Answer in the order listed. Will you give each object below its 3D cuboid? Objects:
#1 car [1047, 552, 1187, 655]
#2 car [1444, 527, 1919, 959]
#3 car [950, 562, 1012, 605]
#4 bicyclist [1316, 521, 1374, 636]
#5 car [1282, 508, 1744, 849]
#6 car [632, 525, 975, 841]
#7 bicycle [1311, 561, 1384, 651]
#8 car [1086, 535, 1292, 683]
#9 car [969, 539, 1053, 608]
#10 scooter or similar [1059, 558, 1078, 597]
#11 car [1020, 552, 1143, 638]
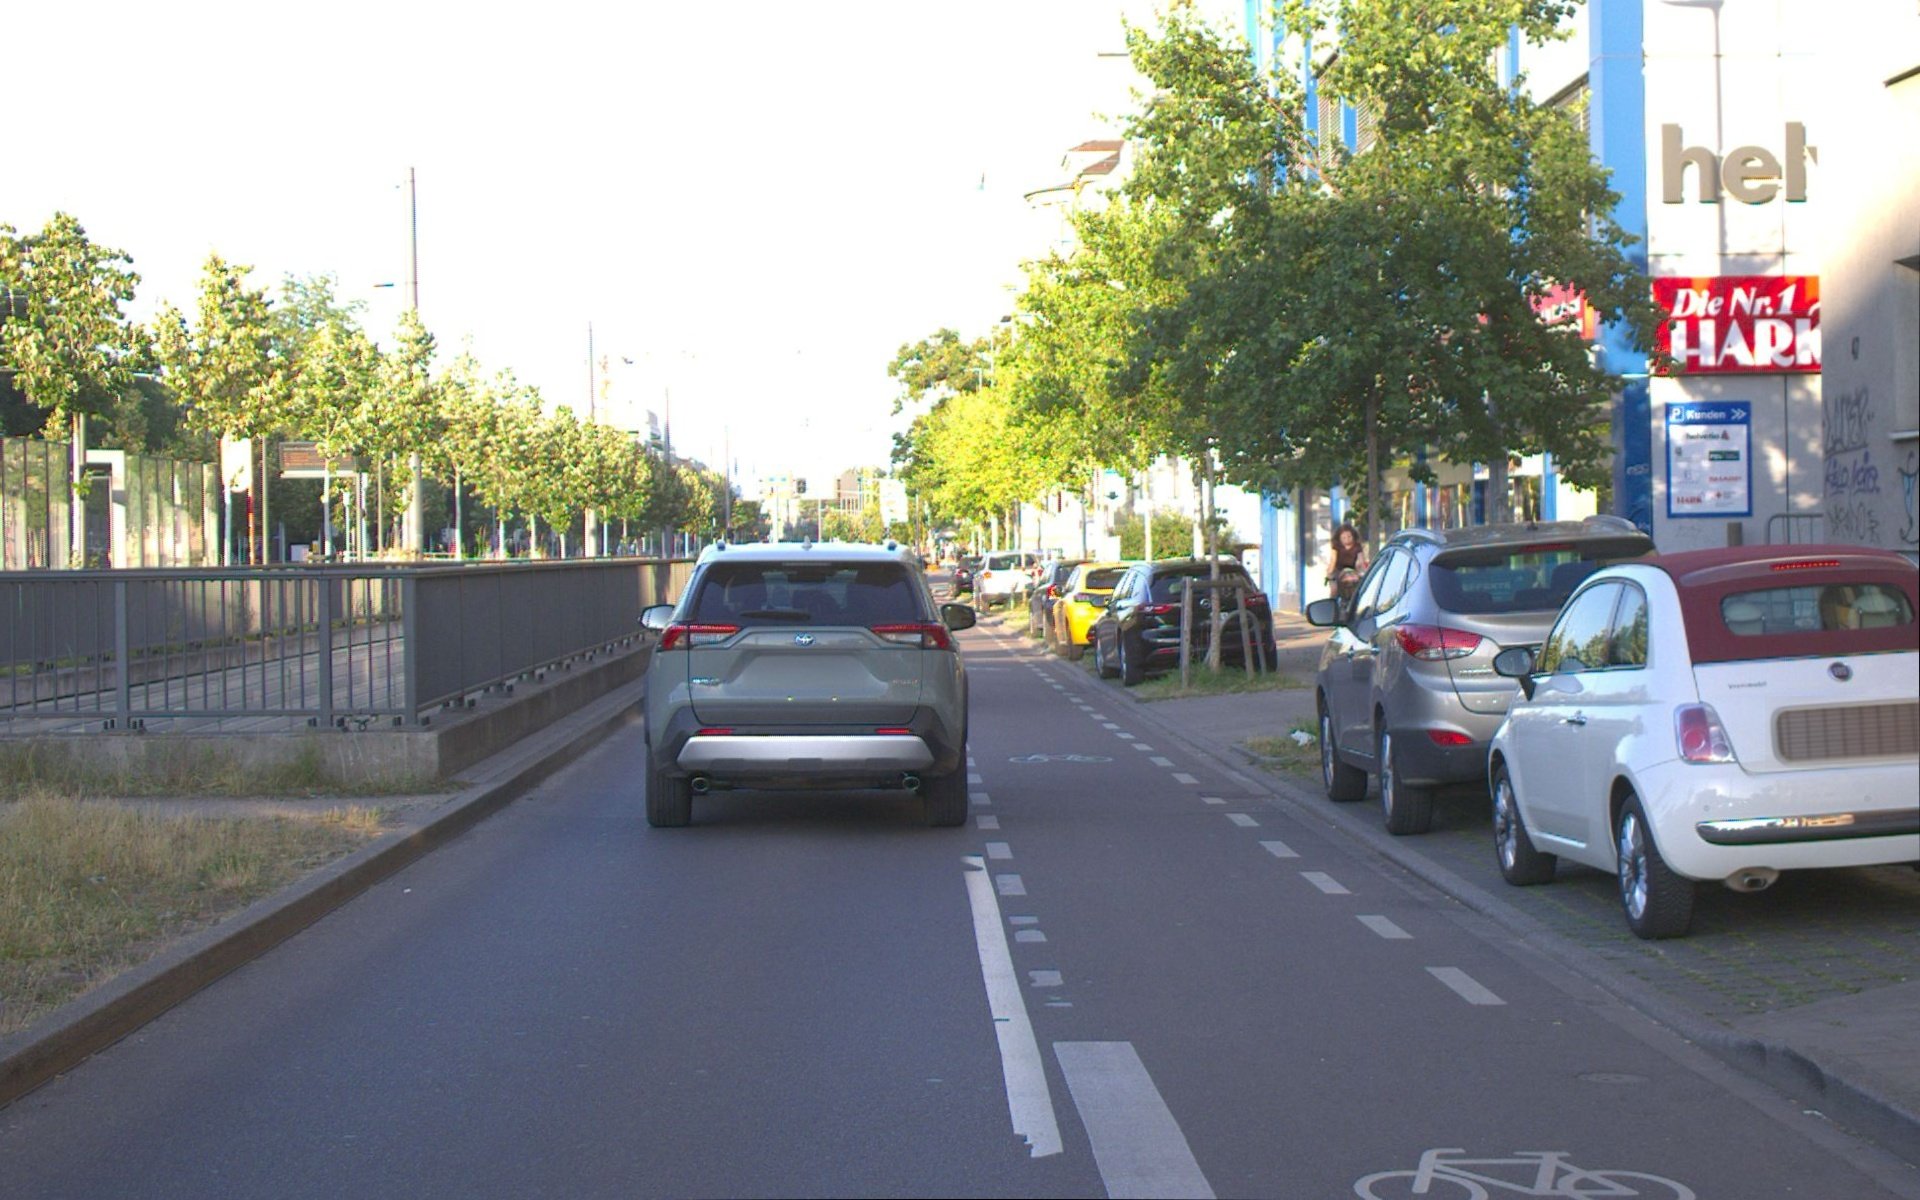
[{"bbox_3d":[2.362,0.031,52.612,1.683,1.449,4.130,-2,1,-3],"label":"car"},{"bbox_3d":[3.314,0.509,14.744,1.669,1.512,3.602,-5,1,-3],"label":"car"},{"bbox_3d":[0.734,-0.596,121.341,1.792,1.466,4.446,-1,1,-4],"label":"car"},{"bbox_3d":[5.082,-0.283,45.406,0.558,1.470,0.623,-4,0,-3],"label":"bicyclist"},{"bbox_3d":[3.054,0.370,19.910,1.757,1.648,4.529,-3,1,-1],"label":"car"},{"bbox_3d":[-0.981,0.442,20.975,1.857,1.708,4.193,1,0,-3],"label":"car"},{"bbox_3d":[5.107,0.066,45.366,0.554,1.125,1.974,-4,0,-3],"label":"bicycle"},{"bbox_3d":[2.725,0.078,42.036,1.819,1.561,4.811,-5,1,-3],"label":"car"},{"bbox_3d":[1.341,-0.734,92.047,1.854,1.701,4.255,-3,1,-3],"label":"car"},{"bbox_3d":[3.570,-0.743,113.166,0.490,1.254,1.208,0,0,-5],"label":"scooter or similar"},{"bbox_3d":[2.179,-0.109,62.584,1.819,1.449,4.129,-2,1,-3],"label":"car"}]
